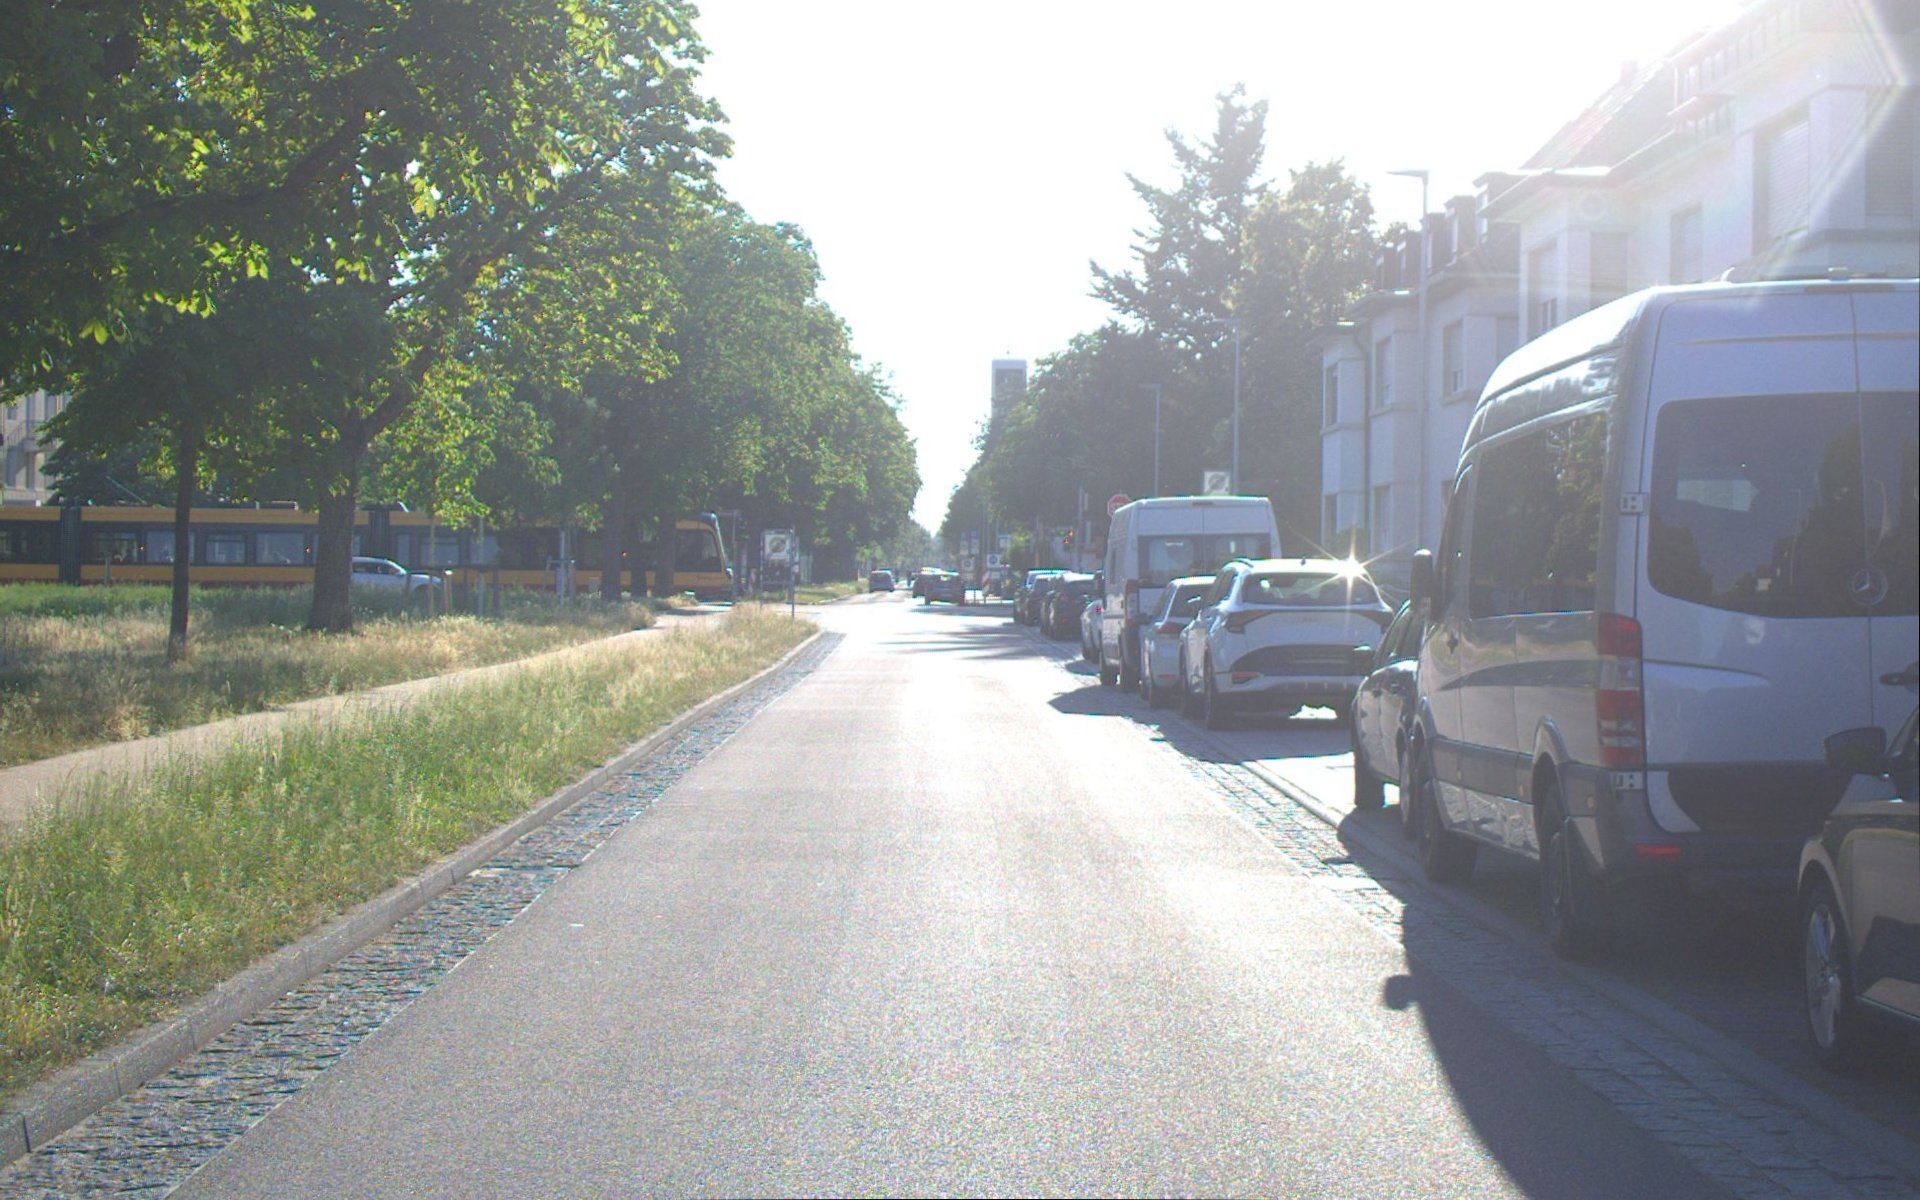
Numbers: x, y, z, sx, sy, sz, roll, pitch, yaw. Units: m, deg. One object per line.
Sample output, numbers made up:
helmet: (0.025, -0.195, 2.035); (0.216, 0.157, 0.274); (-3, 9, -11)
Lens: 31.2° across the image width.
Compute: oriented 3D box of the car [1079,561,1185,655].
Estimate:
car: (2.889, 0.108, 58.375); (1.650, 1.525, 3.851); (0, 1, 1)

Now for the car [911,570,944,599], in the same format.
car: (-1.745, -0.849, 185.454); (1.650, 1.525, 3.851); (0, 1, 1)

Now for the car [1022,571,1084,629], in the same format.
car: (2.531, -0.017, 94.260); (1.650, 1.525, 3.851); (0, 1, 1)

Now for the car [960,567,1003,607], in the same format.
car: (0.845, -0.514, 133.225); (1.650, 1.525, 3.851); (0, 1, 1)

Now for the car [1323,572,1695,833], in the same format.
car: (3.327, 0.575, 21.491); (1.621, 1.406, 3.968); (-3, 0, 0)

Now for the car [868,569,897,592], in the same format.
car: (-5.244, -1.343, 232.192); (1.811, 1.525, 3.851); (0, 1, 1)

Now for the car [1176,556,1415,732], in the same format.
car: (3.262, 0.381, 34.203); (1.837, 1.630, 4.132); (0, 1, -2)

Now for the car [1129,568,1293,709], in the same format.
car: (2.845, 0.401, 39.605); (1.650, 1.525, 3.851); (0, 1, 1)

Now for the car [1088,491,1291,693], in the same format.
car: (2.972, -0.135, 45.643); (2.126, 2.524, 5.189); (0, 1, -2)

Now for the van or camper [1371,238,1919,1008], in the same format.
van or camper: (3.243, 0.101, 15.522); (1.943, 2.768, 5.940); (2, 0, 0)

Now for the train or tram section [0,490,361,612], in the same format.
train or tram section: (-31.802, -1.883, 126.150); (19.068, 3.943, 3.644); (2, 0, -7)

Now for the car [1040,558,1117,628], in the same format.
car: (2.641, -0.177, 77.418); (1.650, 1.525, 3.851); (0, 1, 1)

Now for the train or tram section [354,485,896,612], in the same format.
train or tram section: (-12.489, -1.891, 128.610); (19.778, 3.943, 3.644); (2, 0, -7)

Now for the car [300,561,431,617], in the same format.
car: (-20.488, -0.379, 118.627); (4.345, 1.758, 2.000); (2, 0, -8)

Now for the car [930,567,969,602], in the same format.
car: (-0.441, -0.684, 151.679); (1.650, 1.525, 3.851); (0, 1, 1)

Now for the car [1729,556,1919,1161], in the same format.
car: (3.343, 0.664, 9.059); (1.663, 1.587, 4.086); (-1, 1, 0)
